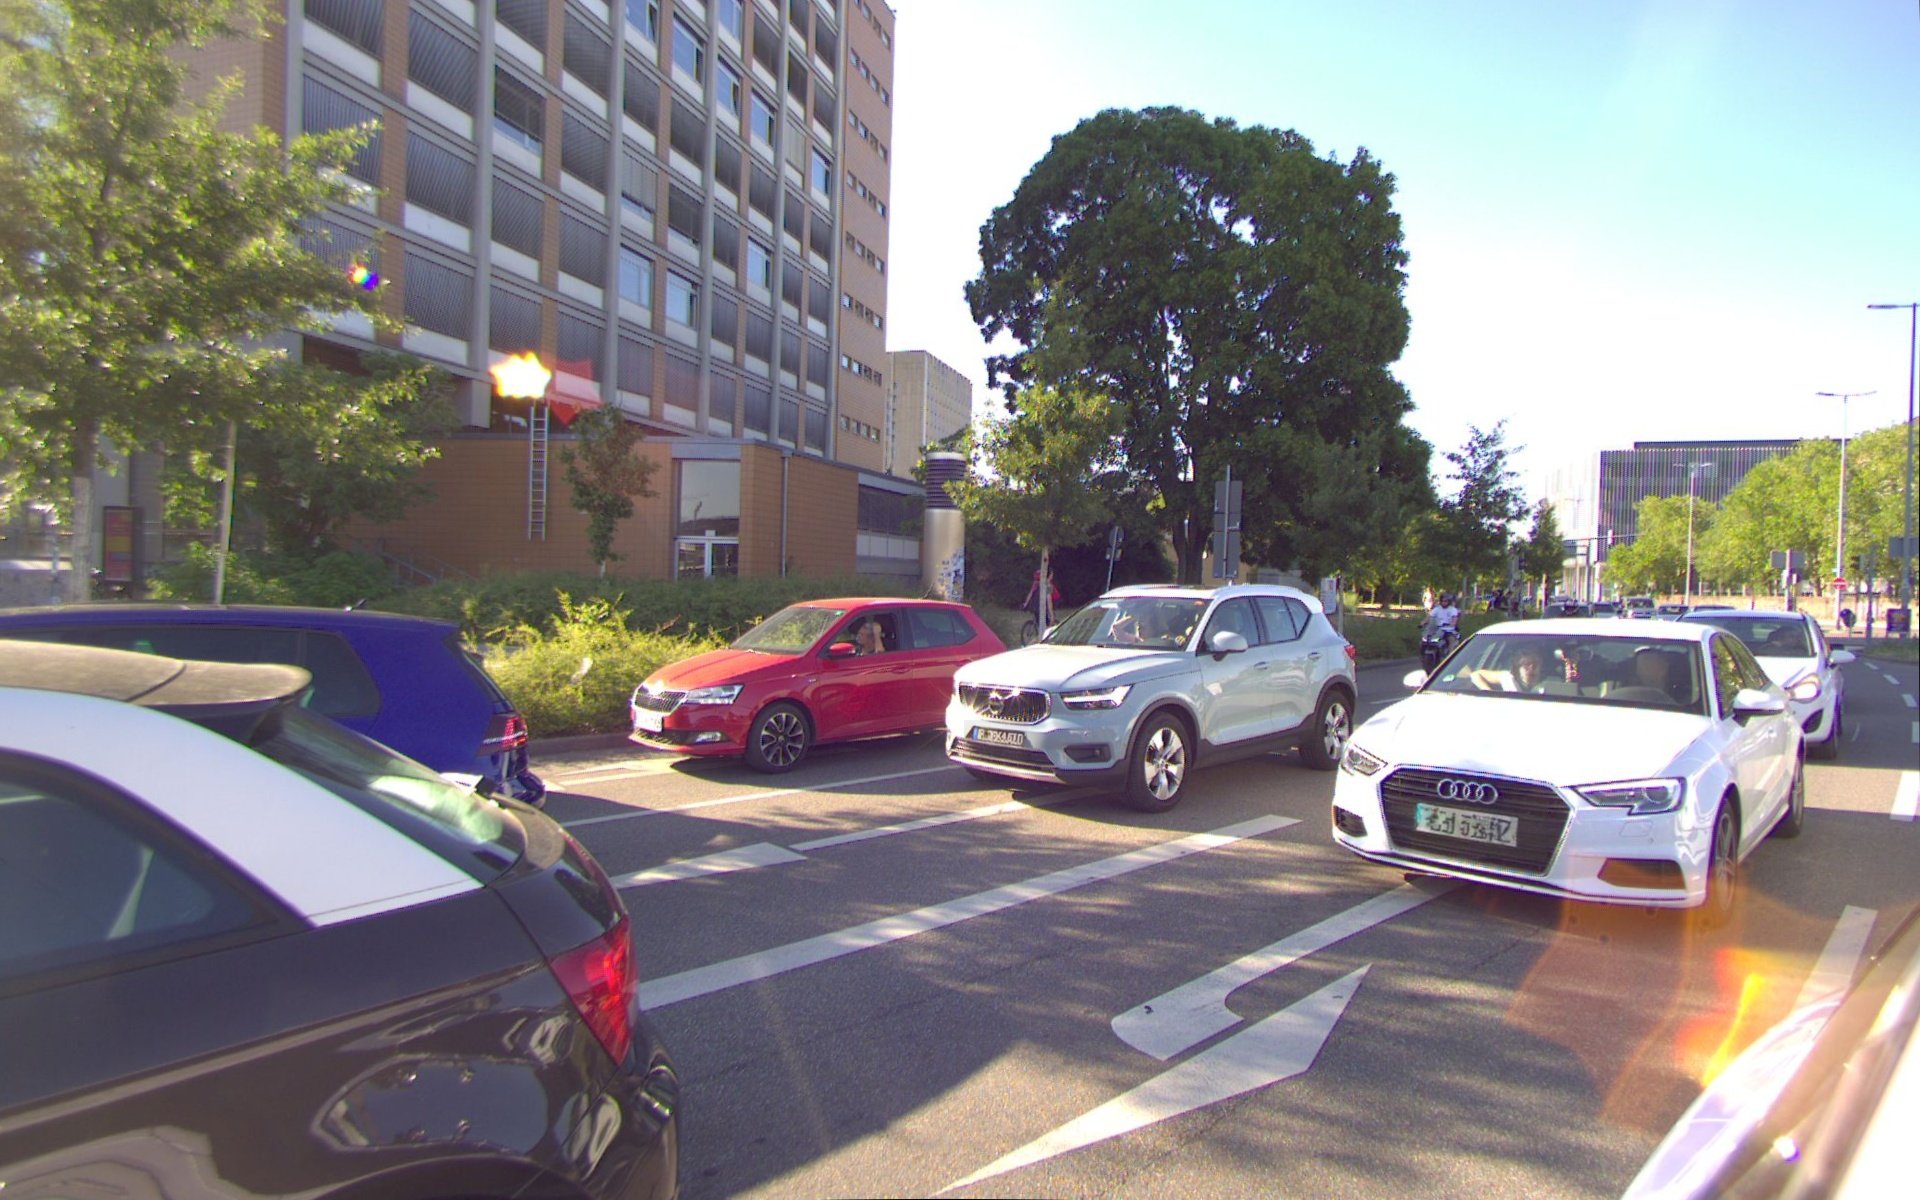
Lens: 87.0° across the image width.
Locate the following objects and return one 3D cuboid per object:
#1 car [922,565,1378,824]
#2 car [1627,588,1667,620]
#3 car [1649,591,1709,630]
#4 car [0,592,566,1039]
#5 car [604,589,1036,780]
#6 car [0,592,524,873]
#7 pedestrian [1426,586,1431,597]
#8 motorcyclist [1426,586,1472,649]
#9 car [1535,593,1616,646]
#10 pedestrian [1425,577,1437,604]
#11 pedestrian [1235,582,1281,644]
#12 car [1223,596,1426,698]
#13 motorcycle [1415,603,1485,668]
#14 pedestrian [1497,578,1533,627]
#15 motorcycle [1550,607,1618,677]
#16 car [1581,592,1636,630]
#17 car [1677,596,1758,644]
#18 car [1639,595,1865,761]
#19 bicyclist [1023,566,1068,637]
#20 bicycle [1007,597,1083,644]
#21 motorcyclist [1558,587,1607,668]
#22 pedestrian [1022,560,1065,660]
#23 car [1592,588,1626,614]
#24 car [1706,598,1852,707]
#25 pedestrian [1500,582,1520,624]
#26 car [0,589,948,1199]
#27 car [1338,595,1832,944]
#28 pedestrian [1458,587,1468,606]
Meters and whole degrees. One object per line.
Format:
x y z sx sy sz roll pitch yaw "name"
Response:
1.772 0.577 8.450 4.153 1.641 1.625 -1 0 -43 "car"
41.297 0.218 60.827 1.867 1.838 3.950 2 1 35 "car"
34.240 0.458 48.267 1.730 1.727 3.962 2 1 27 "car"
-3.728 0.691 3.744 3.930 1.422 1.626 -1 0 -41 "car"
-1.193 0.637 9.836 3.974 1.478 1.625 -1 0 -43 "car"
-5.197 0.679 6.079 4.434 1.422 1.725 -1 1 -42 "car"
63.392 -1.126 136.915 0.477 1.504 0.409 1 1 -41 "pedestrian"
10.621 0.368 21.985 0.716 1.321 0.723 0 0 45 "motorcyclist"
20.072 0.586 32.931 1.738 1.544 3.943 2 2 39 "car"
27.611 -0.562 59.325 0.543 1.549 0.598 0 0 30 "pedestrian"
8.485 0.355 28.779 1.005 1.742 0.873 0 0 39 "pedestrian"
6.252 0.683 17.123 1.750 1.478 4.123 0 1 43 "car"
10.724 0.741 22.118 0.716 1.321 2.199 0 0 44 "motorcycle"
23.670 0.112 43.152 1.137 2.039 1.268 0 0 39 "pedestrian"
12.815 0.821 20.746 0.716 1.321 2.199 0 0 44 "motorcycle"
29.022 0.431 45.372 1.731 1.564 3.960 2 1 29 "car"
27.328 0.680 36.635 1.731 1.564 3.960 2 1 29 "car"
8.872 0.697 11.215 1.623 1.478 3.979 0 1 43 "car"
1.937 0.029 22.847 0.615 1.580 0.858 0 0 42 "bicyclist"
1.938 0.438 22.840 0.657 0.975 2.005 2 2 41 "bicycle"
12.664 0.549 20.598 0.709 1.610 0.679 0 0 45 "motorcyclist"
1.621 0.182 19.582 0.681 1.910 0.465 0 0 -24 "pedestrian"
46.865 0.049 73.119 1.730 1.727 3.961 2 1 28 "car"
13.110 0.720 16.110 1.622 1.478 3.981 0 0 42 "car"
21.336 0.100 39.252 0.593 1.615 0.586 0 0 41 "pedestrian"
-2.031 0.706 1.266 3.930 1.422 1.626 -1 0 -41 "car"
3.943 0.698 6.110 3.769 1.422 1.625 -1 0 -43 "car"
54.607 -0.373 109.792 0.828 2.039 1.061 0 0 19 "pedestrian"
